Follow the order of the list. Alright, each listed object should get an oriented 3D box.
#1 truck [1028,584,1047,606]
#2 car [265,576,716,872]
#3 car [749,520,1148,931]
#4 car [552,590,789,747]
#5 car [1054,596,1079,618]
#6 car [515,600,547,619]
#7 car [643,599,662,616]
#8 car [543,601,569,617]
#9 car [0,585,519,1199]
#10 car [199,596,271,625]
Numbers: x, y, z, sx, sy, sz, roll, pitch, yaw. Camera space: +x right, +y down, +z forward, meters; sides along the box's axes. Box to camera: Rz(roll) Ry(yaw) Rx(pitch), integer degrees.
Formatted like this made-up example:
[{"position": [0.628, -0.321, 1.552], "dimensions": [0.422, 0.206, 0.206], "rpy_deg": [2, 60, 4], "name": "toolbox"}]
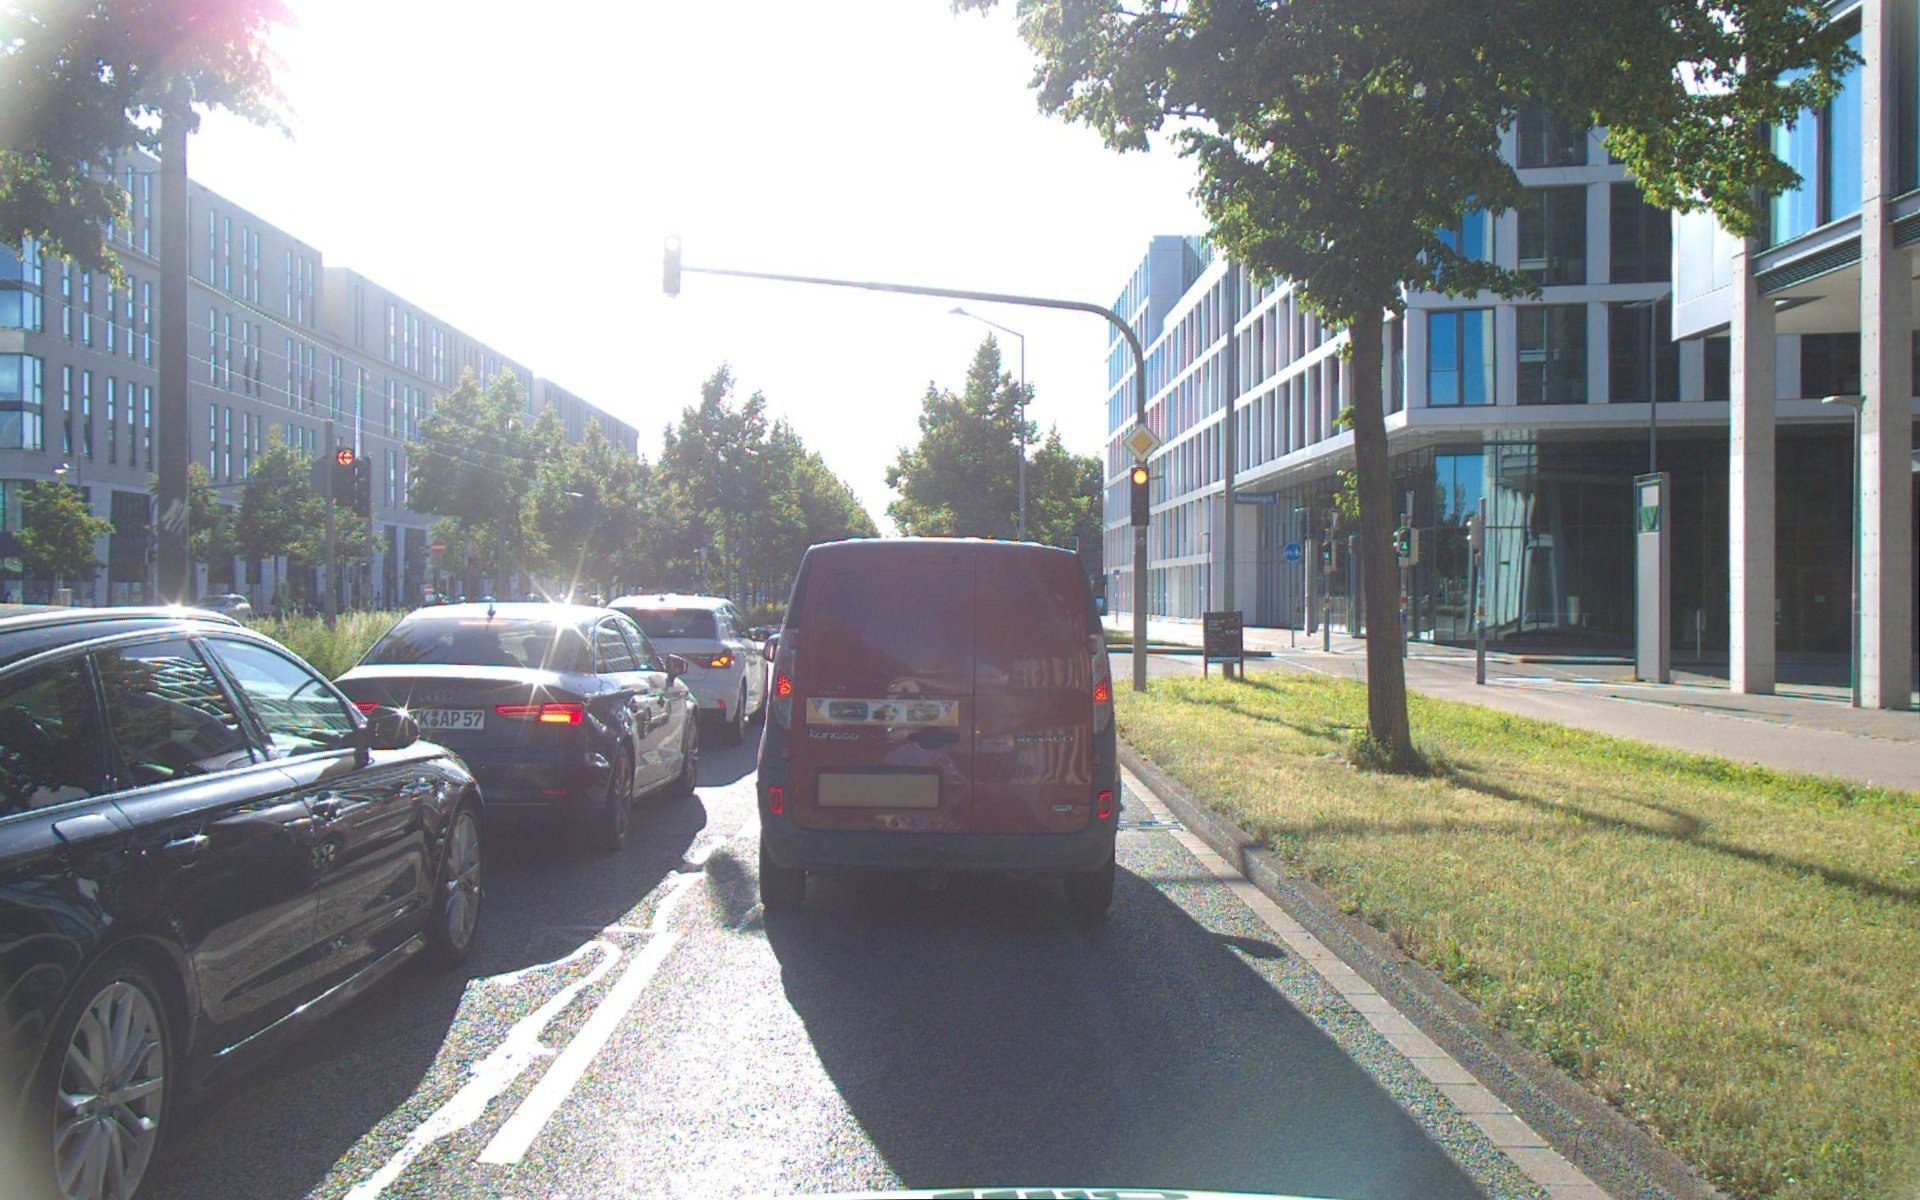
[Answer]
[{"position": [9.344, -0.579, 199.155], "dimensions": [1.794, 2.545, 5.930], "rpy_deg": [0, 0, -1], "name": "truck"}, {"position": [-2.775, 0.643, 10.771], "dimensions": [1.771, 1.554, 4.113], "rpy_deg": [0, 0, 0], "name": "car"}, {"position": [-0.052, 0.549, 9.408], "dimensions": [1.771, 1.825, 4.113], "rpy_deg": [0, 0, 0], "name": "car"}, {"position": [-2.909, 0.625, 17.455], "dimensions": [1.771, 1.460, 4.113], "rpy_deg": [0, 0, 0], "name": "car"}, {"position": [8.203, 0.538, 127.989], "dimensions": [1.722, 1.640, 3.903], "rpy_deg": [0, 0, 0], "name": "car"}, {"position": [-35.261, 0.746, 136.025], "dimensions": [1.740, 1.555, 3.805], "rpy_deg": [0, 0, -1], "name": "car"}, {"position": [-36.870, 0.871, 198.405], "dimensions": [1.694, 2.049, 3.998], "rpy_deg": [0, 0, -3], "name": "car"}, {"position": [-36.276, 0.799, 148.594], "dimensions": [1.548, 1.366, 3.711], "rpy_deg": [0, 0, -1], "name": "car"}, {"position": [-2.734, 0.702, 4.806], "dimensions": [1.771, 1.482, 4.507], "rpy_deg": [0, 0, -1], "name": "car"}, {"position": [-34.627, 0.494, 79.096], "dimensions": [1.548, 1.366, 4.470], "rpy_deg": [0, 0, -1], "name": "car"}]
